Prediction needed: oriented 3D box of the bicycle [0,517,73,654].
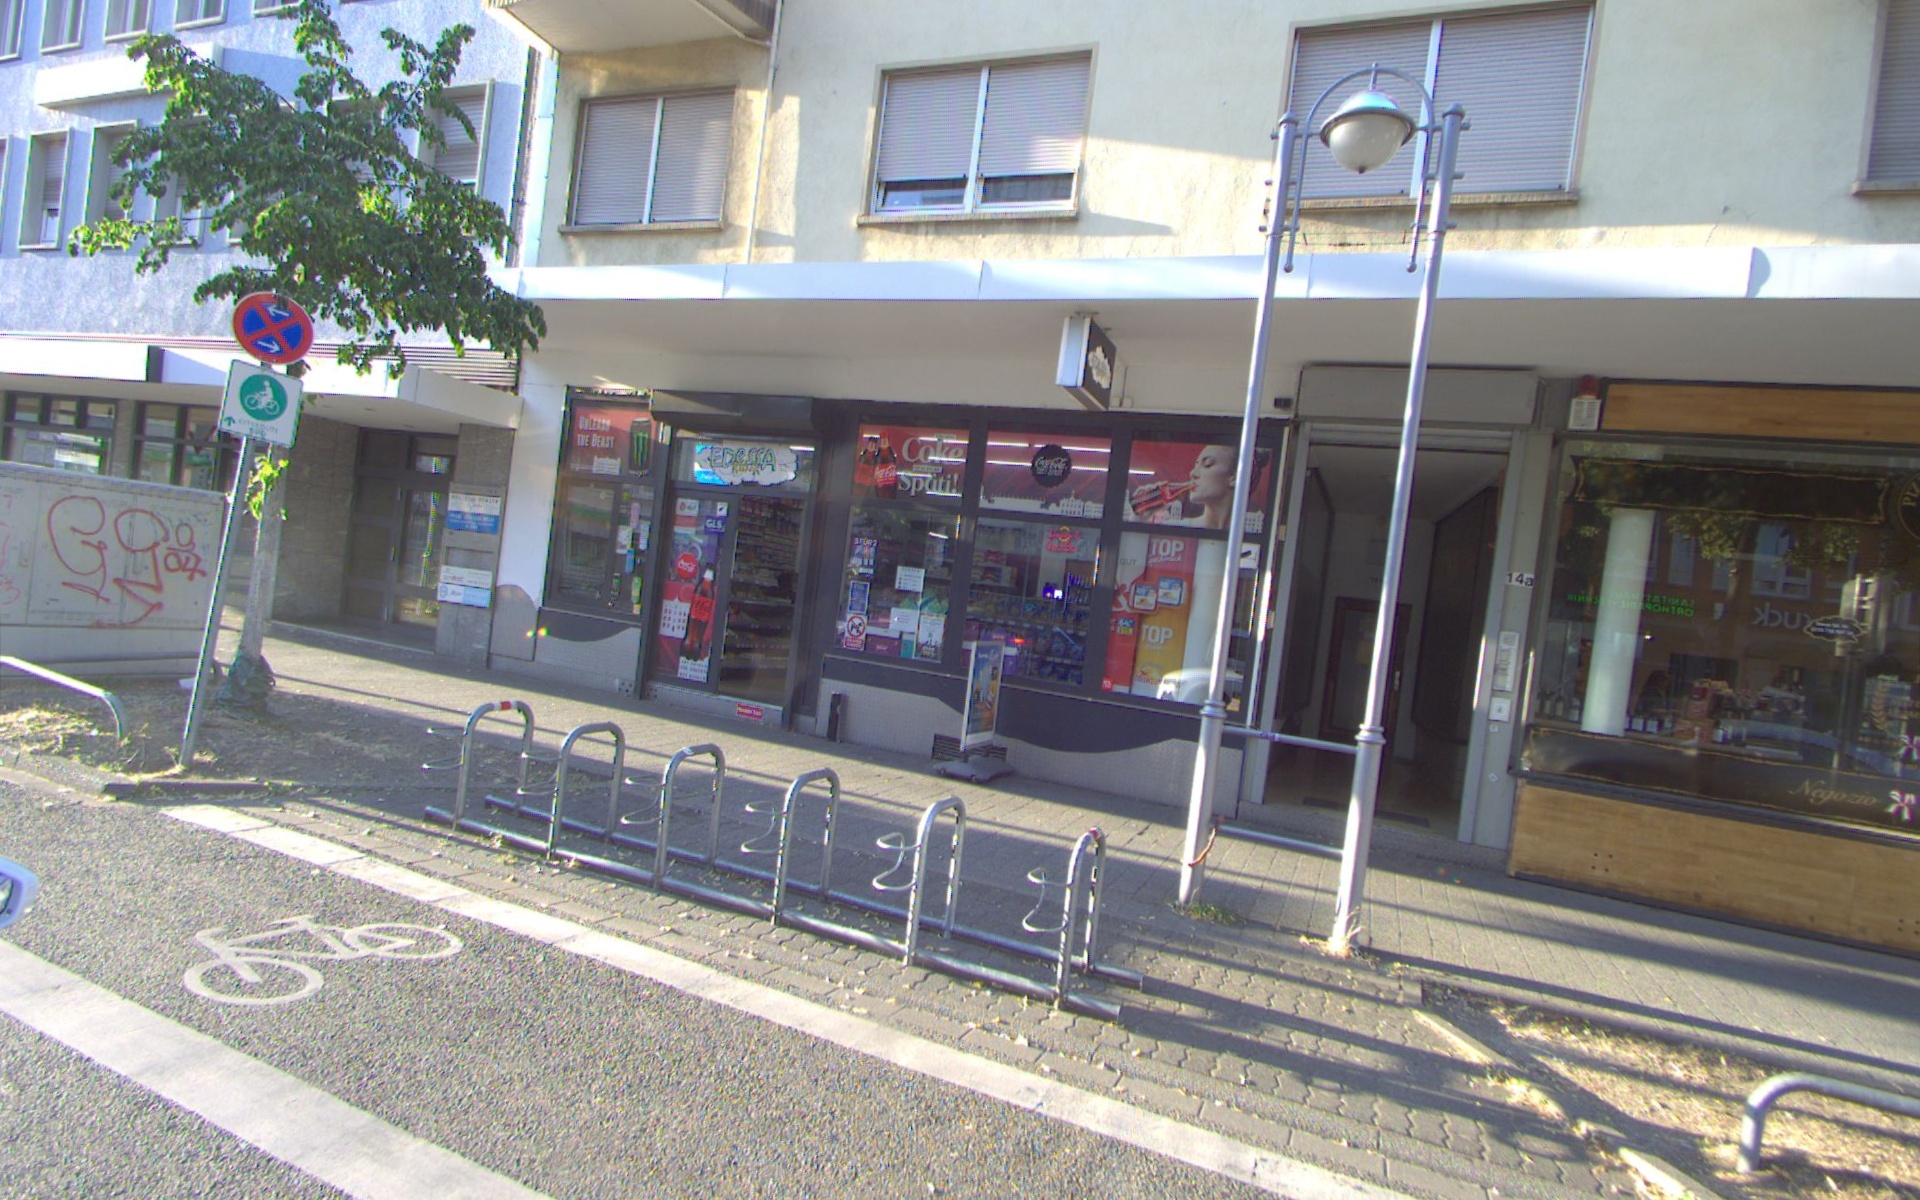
[{"bbox_3d":[-9.079,-0.181,9.103,0.376,1.234,1.445,7,-1,25],"label":"bicycle"}]
